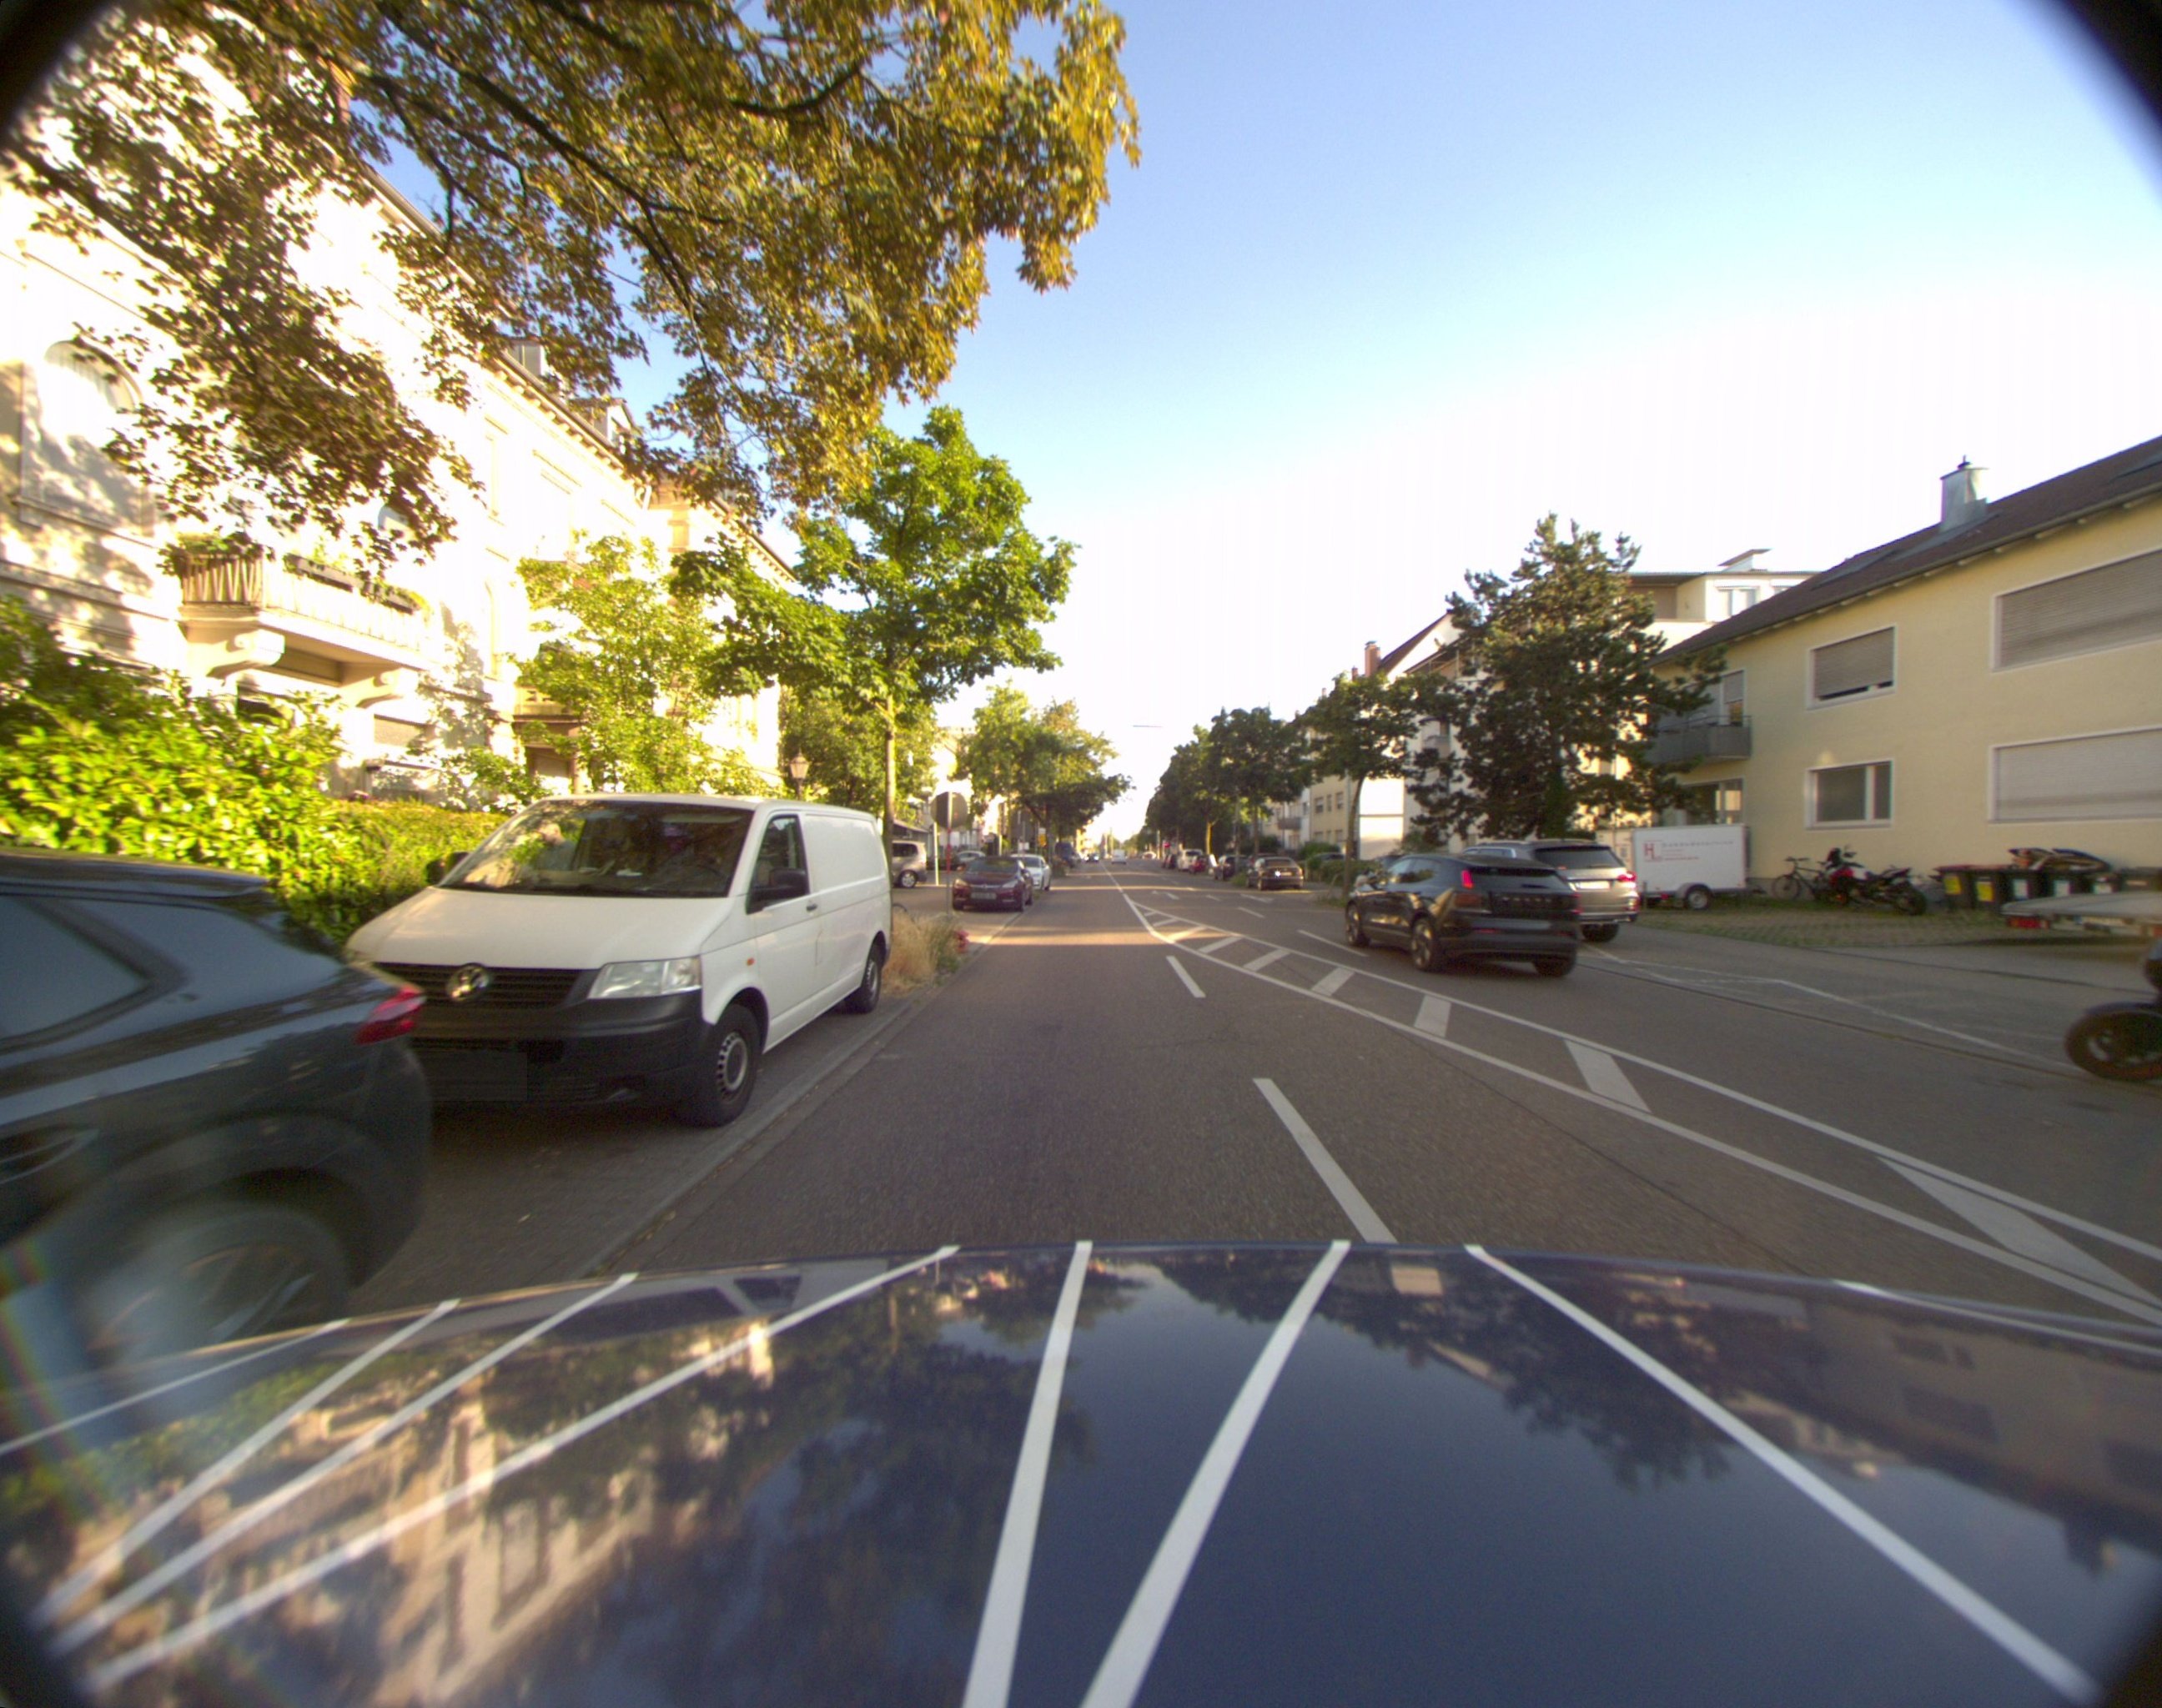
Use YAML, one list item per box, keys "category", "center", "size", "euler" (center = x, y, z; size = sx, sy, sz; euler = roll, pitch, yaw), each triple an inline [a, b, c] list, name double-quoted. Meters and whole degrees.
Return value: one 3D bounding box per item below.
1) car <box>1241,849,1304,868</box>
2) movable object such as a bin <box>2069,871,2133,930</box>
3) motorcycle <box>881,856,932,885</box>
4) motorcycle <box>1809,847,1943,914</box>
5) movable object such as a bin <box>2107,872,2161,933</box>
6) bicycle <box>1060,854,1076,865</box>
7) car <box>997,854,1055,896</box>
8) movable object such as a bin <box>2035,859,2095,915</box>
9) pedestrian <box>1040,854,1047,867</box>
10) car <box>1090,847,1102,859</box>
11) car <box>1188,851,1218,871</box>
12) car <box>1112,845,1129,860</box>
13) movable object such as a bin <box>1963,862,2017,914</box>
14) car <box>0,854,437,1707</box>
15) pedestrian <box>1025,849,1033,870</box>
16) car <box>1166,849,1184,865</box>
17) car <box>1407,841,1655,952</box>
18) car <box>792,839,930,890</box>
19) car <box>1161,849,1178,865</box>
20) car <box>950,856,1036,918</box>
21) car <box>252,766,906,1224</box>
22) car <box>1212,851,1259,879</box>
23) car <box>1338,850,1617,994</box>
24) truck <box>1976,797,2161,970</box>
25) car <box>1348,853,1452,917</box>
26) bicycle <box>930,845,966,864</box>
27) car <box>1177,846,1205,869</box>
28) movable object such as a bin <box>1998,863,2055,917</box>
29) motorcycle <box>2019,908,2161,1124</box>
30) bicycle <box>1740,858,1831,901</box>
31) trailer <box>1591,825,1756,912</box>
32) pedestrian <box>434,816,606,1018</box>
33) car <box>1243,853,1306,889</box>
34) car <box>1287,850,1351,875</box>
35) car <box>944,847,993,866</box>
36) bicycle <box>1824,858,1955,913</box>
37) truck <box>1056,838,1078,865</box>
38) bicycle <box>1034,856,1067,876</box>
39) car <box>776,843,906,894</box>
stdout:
- category: "car"
  center: [15.452, 0.340, 61.406]
  size: [4.563, 1.397, 1.739]
  euler: [-2, 1, -9]
- category: "movable object such as a bin"
  center: [18.143, 0.815, 13.527]
  size: [0.504, 1.013, 0.450]
  euler: [0, 1, 0]
- category: "motorcycle"
  center: [-7.717, 0.714, 33.656]
  size: [2.163, 1.232, 0.789]
  euler: [0, 1, -9]
- category: "motorcycle"
  center: [17.336, 0.541, 16.664]
  size: [0.572, 1.366, 2.258]
  euler: [0, 1, 1]
- category: "movable object such as a bin"
  center: [18.180, 0.827, 13.038]
  size: [0.504, 1.013, 0.450]
  euler: [0, 1, 0]
- category: "bicycle"
  center: [-1.232, 0.533, 72.371]
  size: [1.469, 1.058, 0.445]
  euler: [0, 1, 1]
- category: "car"
  center: [-2.055, 0.761, 29.497]
  size: [1.825, 1.469, 4.621]
  euler: [0, 1, 1]
- category: "movable object such as a bin"
  center: [18.253, 0.600, 14.101]
  size: [0.504, 1.013, 0.450]
  euler: [0, 1, 0]
- category: "pedestrian"
  center: [-3.139, 0.567, 64.328]
  size: [0.553, 1.053, 0.532]
  euler: [0, 1, 2]
- category: "car"
  center: [2.161, -0.188, 109.422]
  size: [1.596, 1.696, 4.000]
  euler: [0, 1, 1]
- category: "car"
  center: [8.976, 0.486, 56.094]
  size: [1.740, 1.455, 3.636]
  euler: [0, 1, 1]
- category: "car"
  center: [5.050, -0.180, 98.413]
  size: [1.893, 1.793, 4.430]
  euler: [2, 1, -1]
- category: "movable object such as a bin"
  center: [18.212, 0.673, 15.230]
  size: [0.504, 1.013, 0.450]
  euler: [0, 1, 0]
- category: "car"
  center: [-2.909, 0.832, 0.130]
  size: [1.860, 1.594, 4.311]
  euler: [3, 1, 1]
- category: "pedestrian"
  center: [-4.483, 0.492, 65.229]
  size: [0.619, 1.761, 0.562]
  euler: [0, 0, 2]
- category: "car"
  center: [9.148, 0.291, 74.256]
  size: [1.407, 1.397, 3.682]
  euler: [-2, 1, 2]
- category: "car"
  center: [8.145, 0.655, 14.407]
  size: [1.892, 1.769, 4.725]
  euler: [0, 1, 0]
- category: "car"
  center: [-8.625, 0.372, 29.925]
  size: [4.946, 1.888, 1.916]
  euler: [0, 1, -28]
- category: "car"
  center: [9.129, 0.282, 78.475]
  size: [1.407, 1.456, 3.682]
  euler: [-2, 1, 2]
- category: "car"
  center: [-2.311, 0.817, 21.115]
  size: [1.761, 1.412, 4.614]
  euler: [2, 1, 1]
- category: "car"
  center: [-2.808, 0.624, 5.784]
  size: [1.908, 2.091, 4.640]
  euler: [0, 1, -1]
- category: "car"
  center: [8.789, 0.583, 43.495]
  size: [1.862, 1.477, 3.999]
  euler: [0, 0, 0]
- category: "car"
  center: [5.242, 0.777, 10.759]
  size: [1.840, 1.561, 3.999]
  euler: [2, 1, 1]
- category: "truck"
  center: [17.075, 0.366, 10.371]
  size: [6.911, 2.172, 2.276]
  euler: [0, 1, 1]
- category: "car"
  center: [8.294, 0.767, 20.003]
  size: [1.577, 1.546, 2.749]
  euler: [0, 1, 0]
- category: "bicycle"
  center: [-9.918, 0.046, 56.743]
  size: [2.459, 1.433, 0.928]
  euler: [0, 1, -1]
- category: "car"
  center: [9.119, 0.259, 63.181]
  size: [1.740, 1.799, 4.191]
  euler: [0, 1, 1]
- category: "movable object such as a bin"
  center: [18.217, 0.678, 14.641]
  size: [0.504, 1.013, 0.450]
  euler: [0, 1, 0]
- category: "motorcycle"
  center: [7.466, 1.048, 4.362]
  size: [1.184, 1.259, 2.365]
  euler: [0, 1, -23]
- category: "bicycle"
  center: [18.660, 0.658, 20.178]
  size: [0.520, 1.057, 2.046]
  euler: [0, 1, 1]
- category: "trailer"
  center: [14.230, 0.338, 18.356]
  size: [2.780, 2.002, 1.552]
  euler: [0, 1, -1]
- category: "pedestrian"
  center: [-5.247, 0.548, 7.196]
  size: [0.823, 1.763, 1.089]
  euler: [0, 1, -3]
- category: "car"
  center: [8.258, 0.693, 32.789]
  size: [1.641, 1.399, 4.443]
  euler: [0, 1, 1]
- category: "car"
  center: [14.766, 0.486, 47.219]
  size: [3.467, 1.515, 1.686]
  euler: [0, 1, 2]
- category: "car"
  center: [-9.282, 0.200, 62.881]
  size: [3.877, 1.496, 1.575]
  euler: [0, 1, -4]
- category: "bicycle"
  center: [18.213, 0.668, 17.207]
  size: [0.572, 1.134, 2.258]
  euler: [0, 1, 1]
- category: "truck"
  center: [-1.363, -0.255, 75.943]
  size: [1.998, 2.629, 5.615]
  euler: [0, 1, 1]
- category: "bicycle"
  center: [-1.847, 0.718, 45.755]
  size: [1.894, 1.155, 0.616]
  euler: [2, 2, 28]
- category: "car"
  center: [-8.509, 0.477, 26.962]
  size: [4.106, 1.690, 1.783]
  euler: [1, 1, -29]
